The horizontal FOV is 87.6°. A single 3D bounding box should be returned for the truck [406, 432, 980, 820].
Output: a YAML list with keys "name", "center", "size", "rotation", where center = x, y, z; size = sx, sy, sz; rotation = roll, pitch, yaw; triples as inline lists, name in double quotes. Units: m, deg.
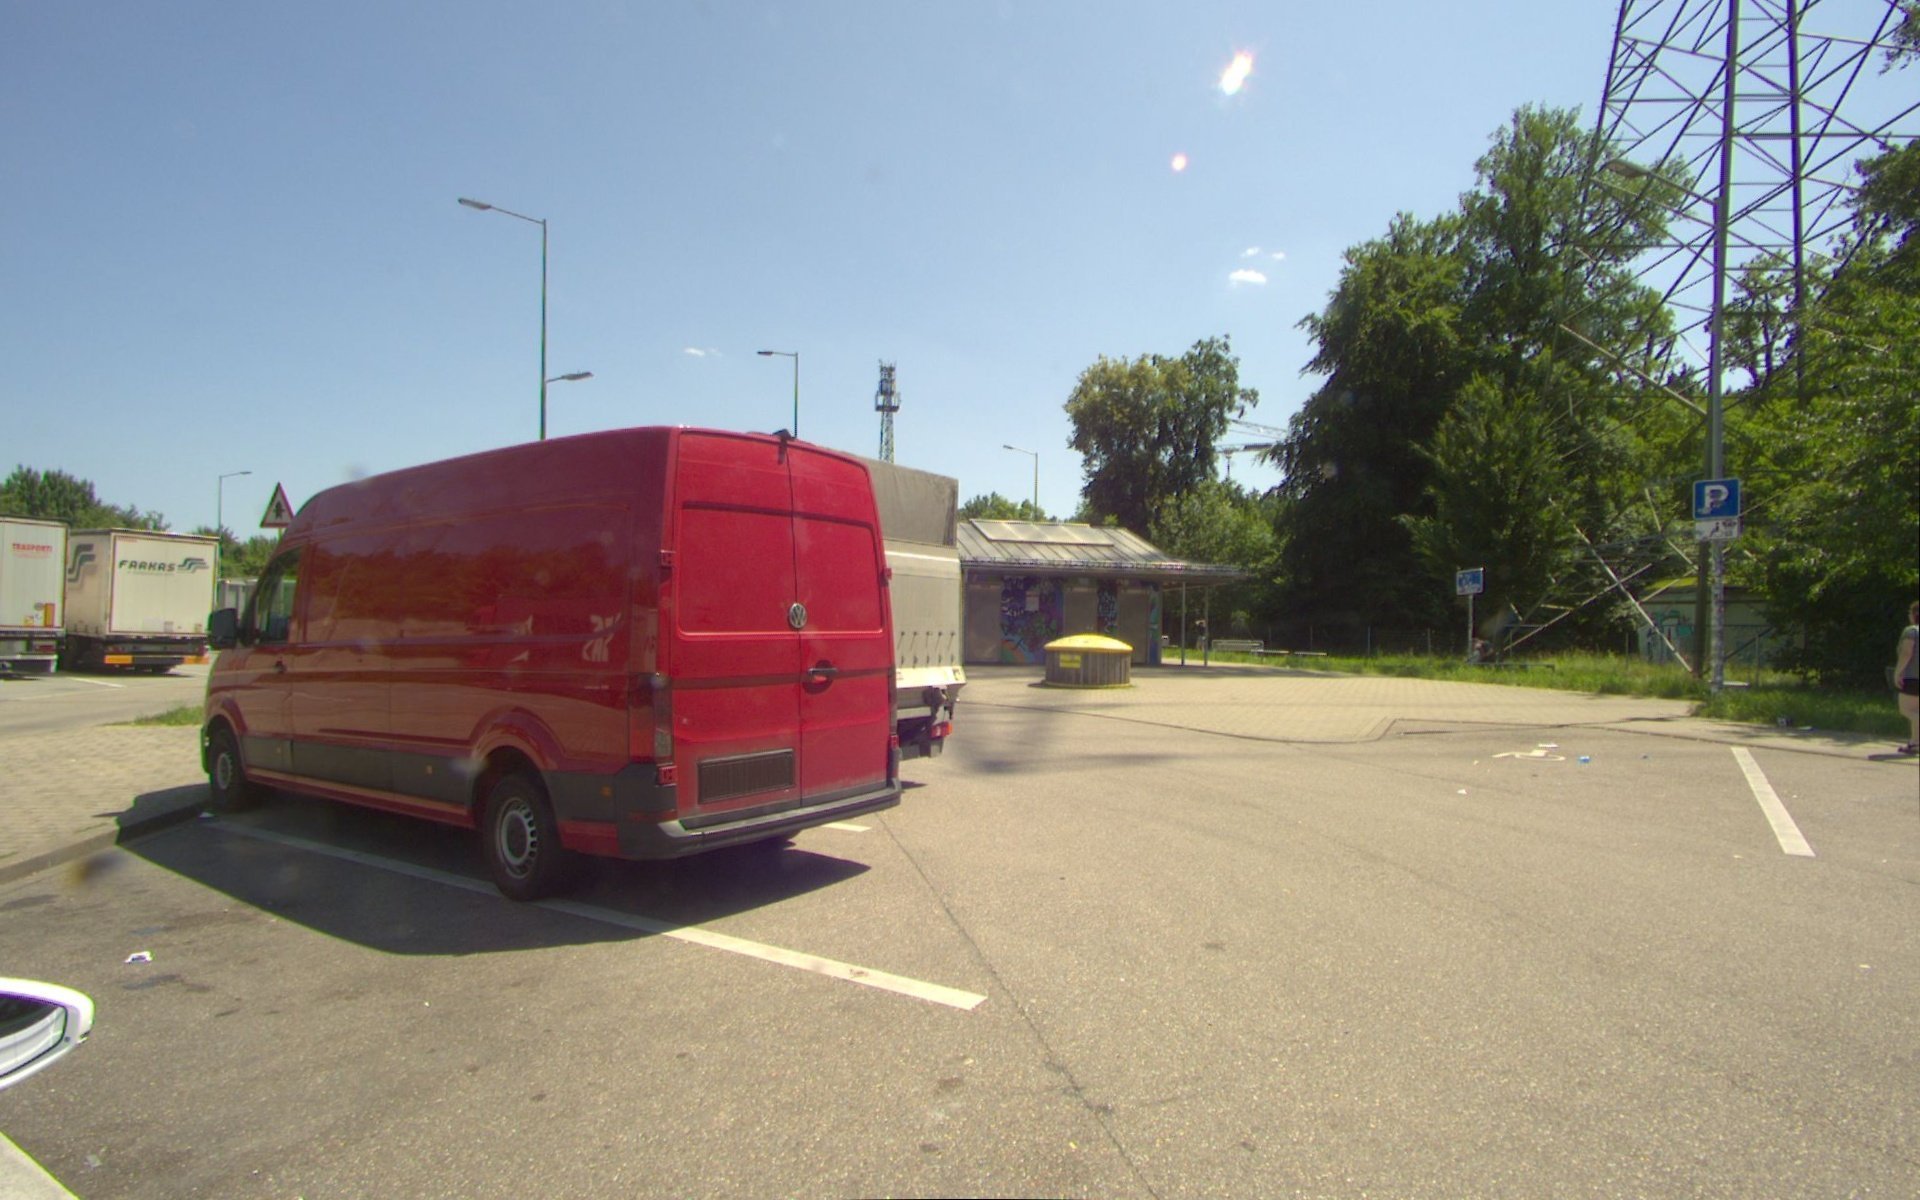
- name: "truck"
  center: [-3.064, 0.278, 10.499]
  size: [6.372, 2.944, 2.411]
  rotation: [-1, -2, 37]

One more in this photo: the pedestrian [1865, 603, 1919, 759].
- name: "pedestrian"
  center: [10.581, 0.875, 10.965]
  size: [0.674, 1.670, 0.715]
  rotation: [0, -1, -9]

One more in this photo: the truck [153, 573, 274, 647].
- name: "truck"
  center: [-37.528, 0.487, 50.298]
  size: [5.887, 3.406, 2.862]
  rotation: [1, -2, 32]

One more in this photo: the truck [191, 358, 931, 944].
- name: "truck"
  center: [-3.314, 0.306, 7.315]
  size: [6.372, 2.685, 2.005]
  rotation: [-1, -2, 37]

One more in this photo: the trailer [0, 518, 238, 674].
- name: "trailer"
  center: [-27.593, -0.160, 31.585]
  size: [13.561, 4.162, 2.854]
  rotation: [1, -2, 32]

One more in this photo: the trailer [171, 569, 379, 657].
- name: "trailer"
  center: [-32.456, 0.496, 47.074]
  size: [13.561, 3.646, 2.854]
  rotation: [1, -2, 32]

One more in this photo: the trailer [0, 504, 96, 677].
- name: "trailer"
  center: [-28.666, -0.333, 27.998]
  size: [13.561, 4.162, 2.854]
  rotation: [1, -2, 32]

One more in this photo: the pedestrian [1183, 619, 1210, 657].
- name: "pedestrian"
  center: [10.471, 1.674, 44.348]
  size: [0.905, 1.639, 0.812]
  rotation: [0, -1, -20]

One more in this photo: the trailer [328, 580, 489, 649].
- name: "trailer"
  center: [-36.151, 0.860, 65.313]
  size: [13.561, 3.955, 2.854]
  rotation: [1, -2, 32]

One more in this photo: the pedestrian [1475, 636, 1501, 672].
- name: "pedestrian"
  center: [14.665, 1.500, 27.796]
  size: [0.439, 0.987, 0.460]
  rotation: [0, -1, -19]
